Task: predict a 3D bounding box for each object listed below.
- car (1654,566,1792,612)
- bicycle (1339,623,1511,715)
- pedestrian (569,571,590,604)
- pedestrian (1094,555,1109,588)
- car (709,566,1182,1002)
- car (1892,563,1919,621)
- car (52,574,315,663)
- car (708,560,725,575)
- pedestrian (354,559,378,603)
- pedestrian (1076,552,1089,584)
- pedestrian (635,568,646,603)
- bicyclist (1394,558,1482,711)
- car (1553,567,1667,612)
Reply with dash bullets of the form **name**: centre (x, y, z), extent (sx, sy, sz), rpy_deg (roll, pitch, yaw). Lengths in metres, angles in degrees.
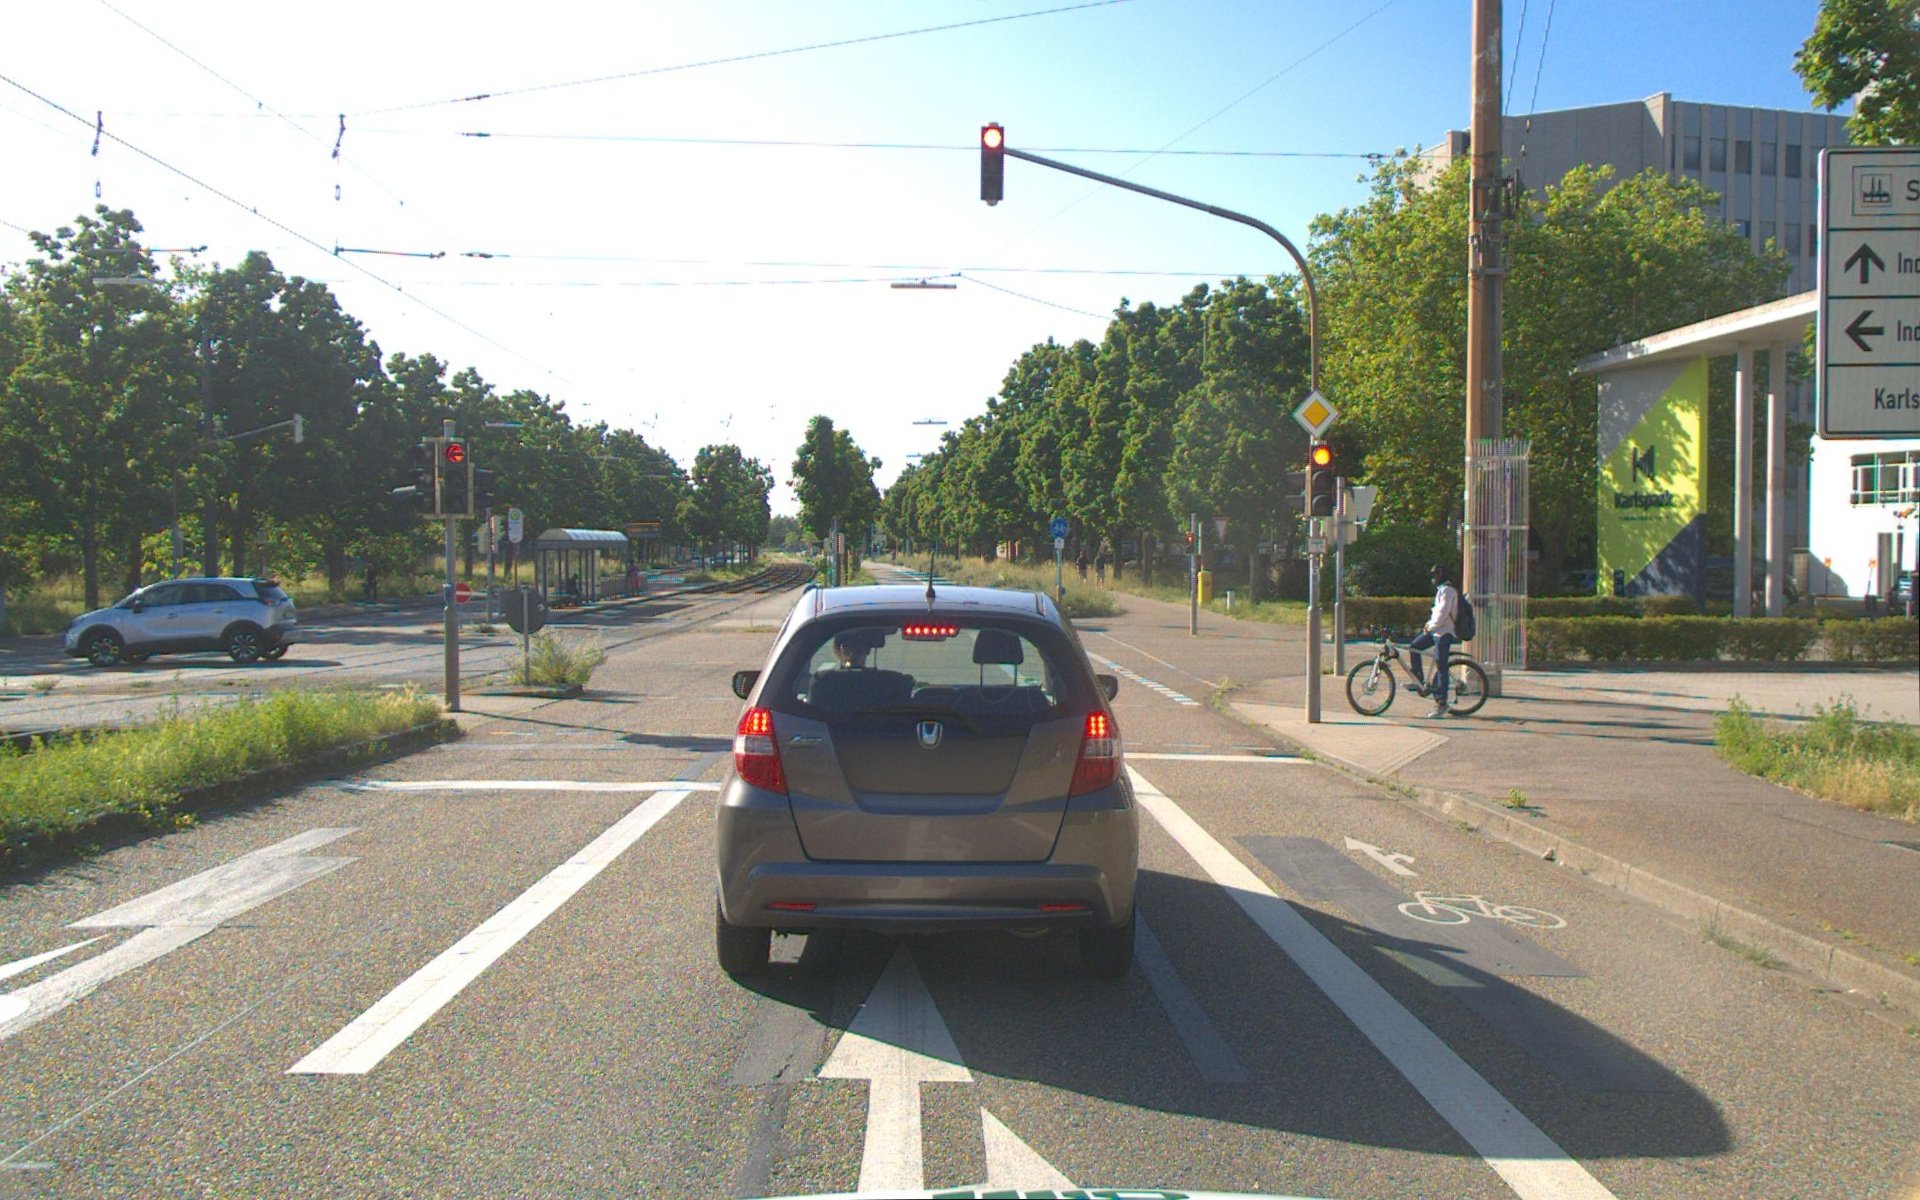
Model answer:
- **car**: centre (28.102, -0.400, 60.959), extent (4.459, 1.658, 1.870), rpy_deg (0, 0, -14)
- **bicycle**: centre (5.532, 0.822, 19.766), extent (1.879, 1.015, 0.765), rpy_deg (-2, 0, 10)
- **pedestrian**: centre (-15.109, -0.500, 65.672), extent (0.706, 1.267, 0.710), rpy_deg (-1, 1, -3)
- **pedestrian**: centre (7.172, -1.457, 83.797), extent (0.664, 1.638, 0.720), rpy_deg (1, 0, -3)
- **car**: centre (-0.055, 0.645, 7.917), extent (1.672, 1.535, 4.000), rpy_deg (1, 0, 0)
- **car**: centre (31.053, -0.233, 50.814), extent (3.915, 1.750, 1.895), rpy_deg (0, 1, -10)
- **car**: centre (-14.776, 0.350, 31.669), extent (4.159, 1.634, 1.854), rpy_deg (0, 0, -6)
- **car**: centre (-29.006, -3.841, 197.120), extent (1.731, 1.768, 3.998), rpy_deg (0, 0, -3)
- **pedestrian**: centre (-27.540, -0.874, 76.679), extent (0.823, 2.049, 0.863), rpy_deg (0, 0, -3)
- **pedestrian**: centre (6.194, -1.615, 83.801), extent (0.556, 1.624, 0.665), rpy_deg (1, 0, -5)
- **pedestrian**: centre (-15.498, -0.698, 80.279), extent (0.493, 1.705, 0.387), rpy_deg (0, 0, -12)
- **bicyclist**: centre (5.696, 0.405, 19.744), extent (0.890, 1.775, 0.765), rpy_deg (-1, 0, 10)
- **car**: centre (26.700, -0.435, 67.982), extent (3.919, 1.788, 1.993), rpy_deg (0, 1, -14)
